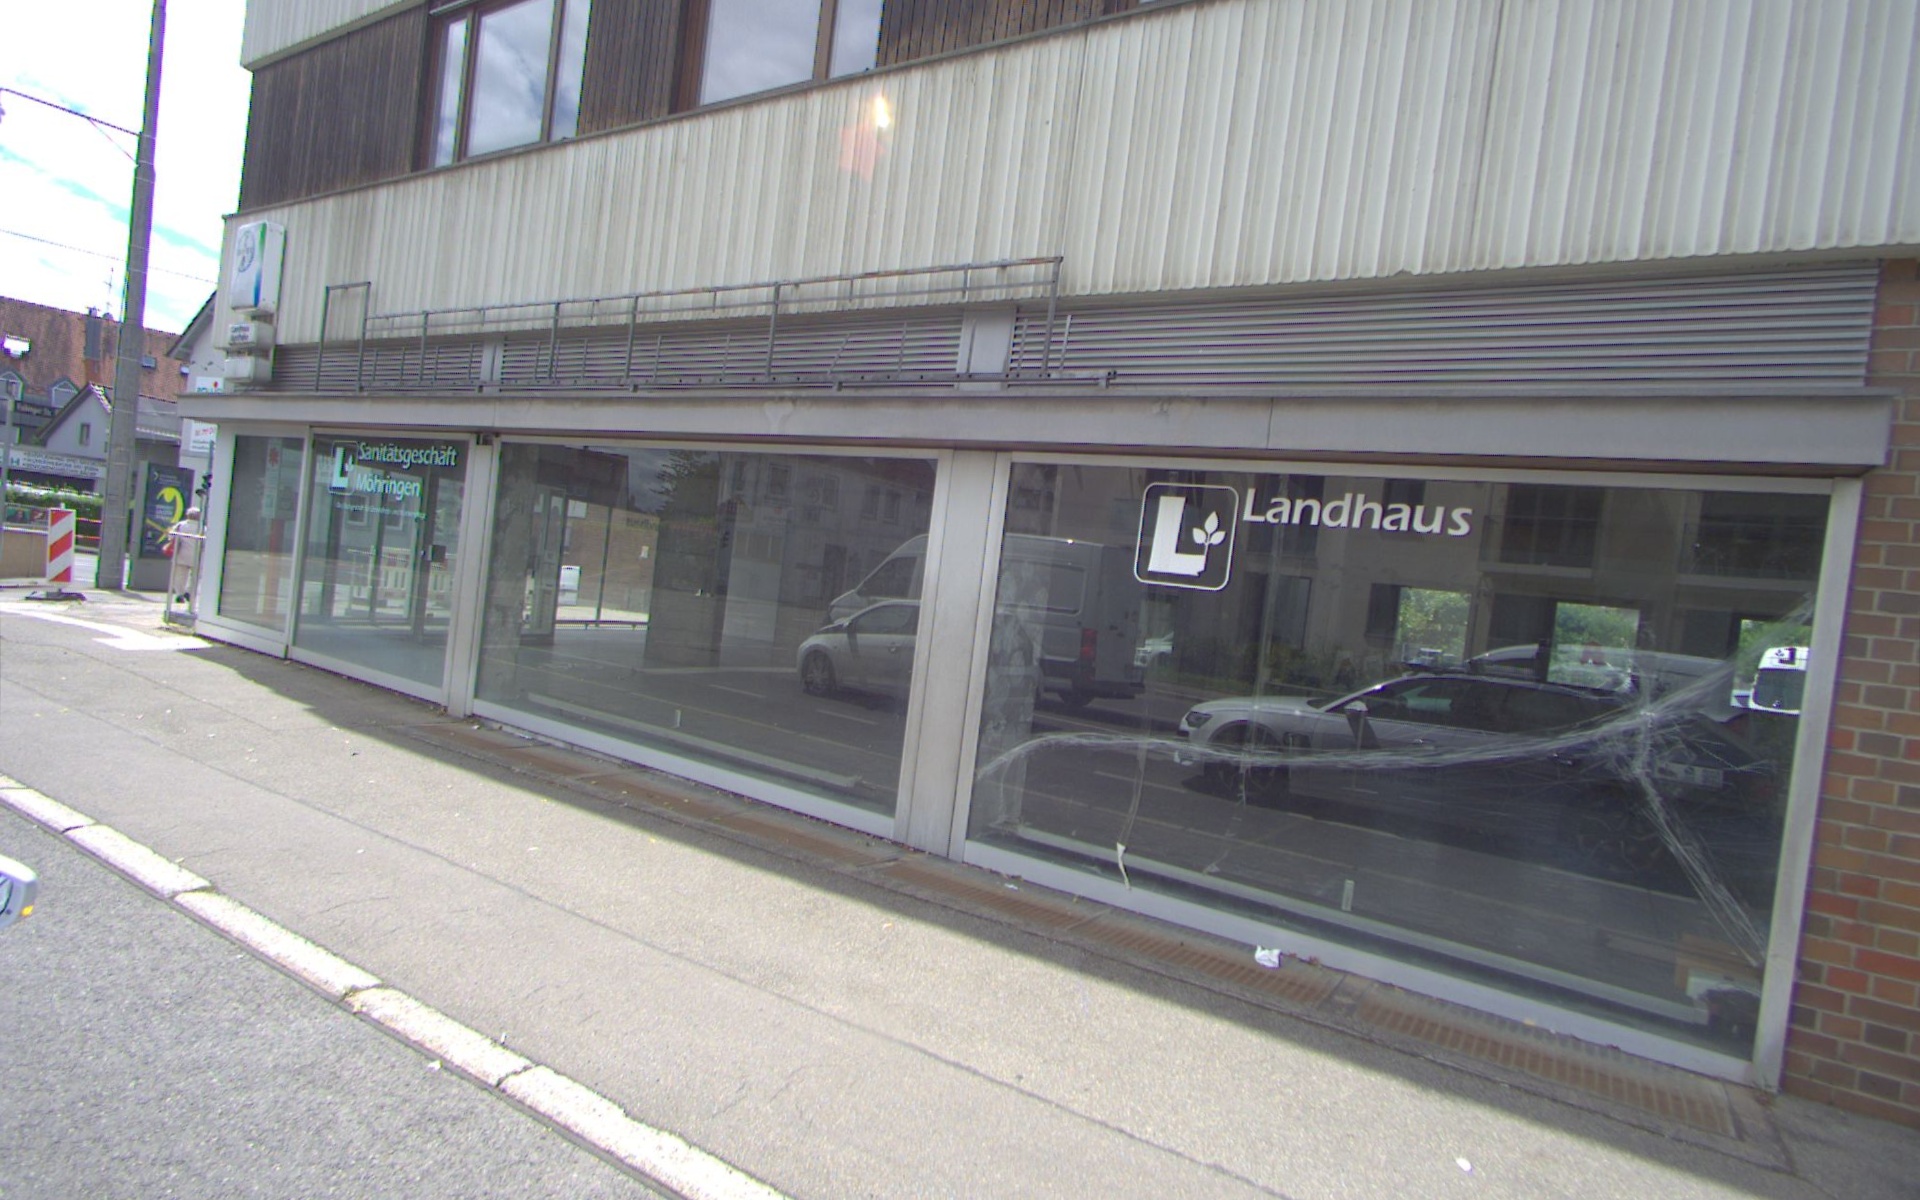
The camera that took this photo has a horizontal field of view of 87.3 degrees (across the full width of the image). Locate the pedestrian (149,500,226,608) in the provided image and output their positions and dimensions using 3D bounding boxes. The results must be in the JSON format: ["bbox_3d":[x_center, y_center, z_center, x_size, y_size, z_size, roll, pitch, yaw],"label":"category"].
[{"bbox_3d":[-12.904,-0.774,16.792,0.831,1.657,0.863,7,0,-42],"label":"pedestrian"}]

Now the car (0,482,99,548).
[{"bbox_3d":[-35.268,-3.268,37.668,1.964,2.037,4.000,7,-1,23],"label":"car"}]

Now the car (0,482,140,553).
[{"bbox_3d":[-32.981,-3.005,36.826,1.964,1.971,4.000,7,-1,23],"label":"car"}]
